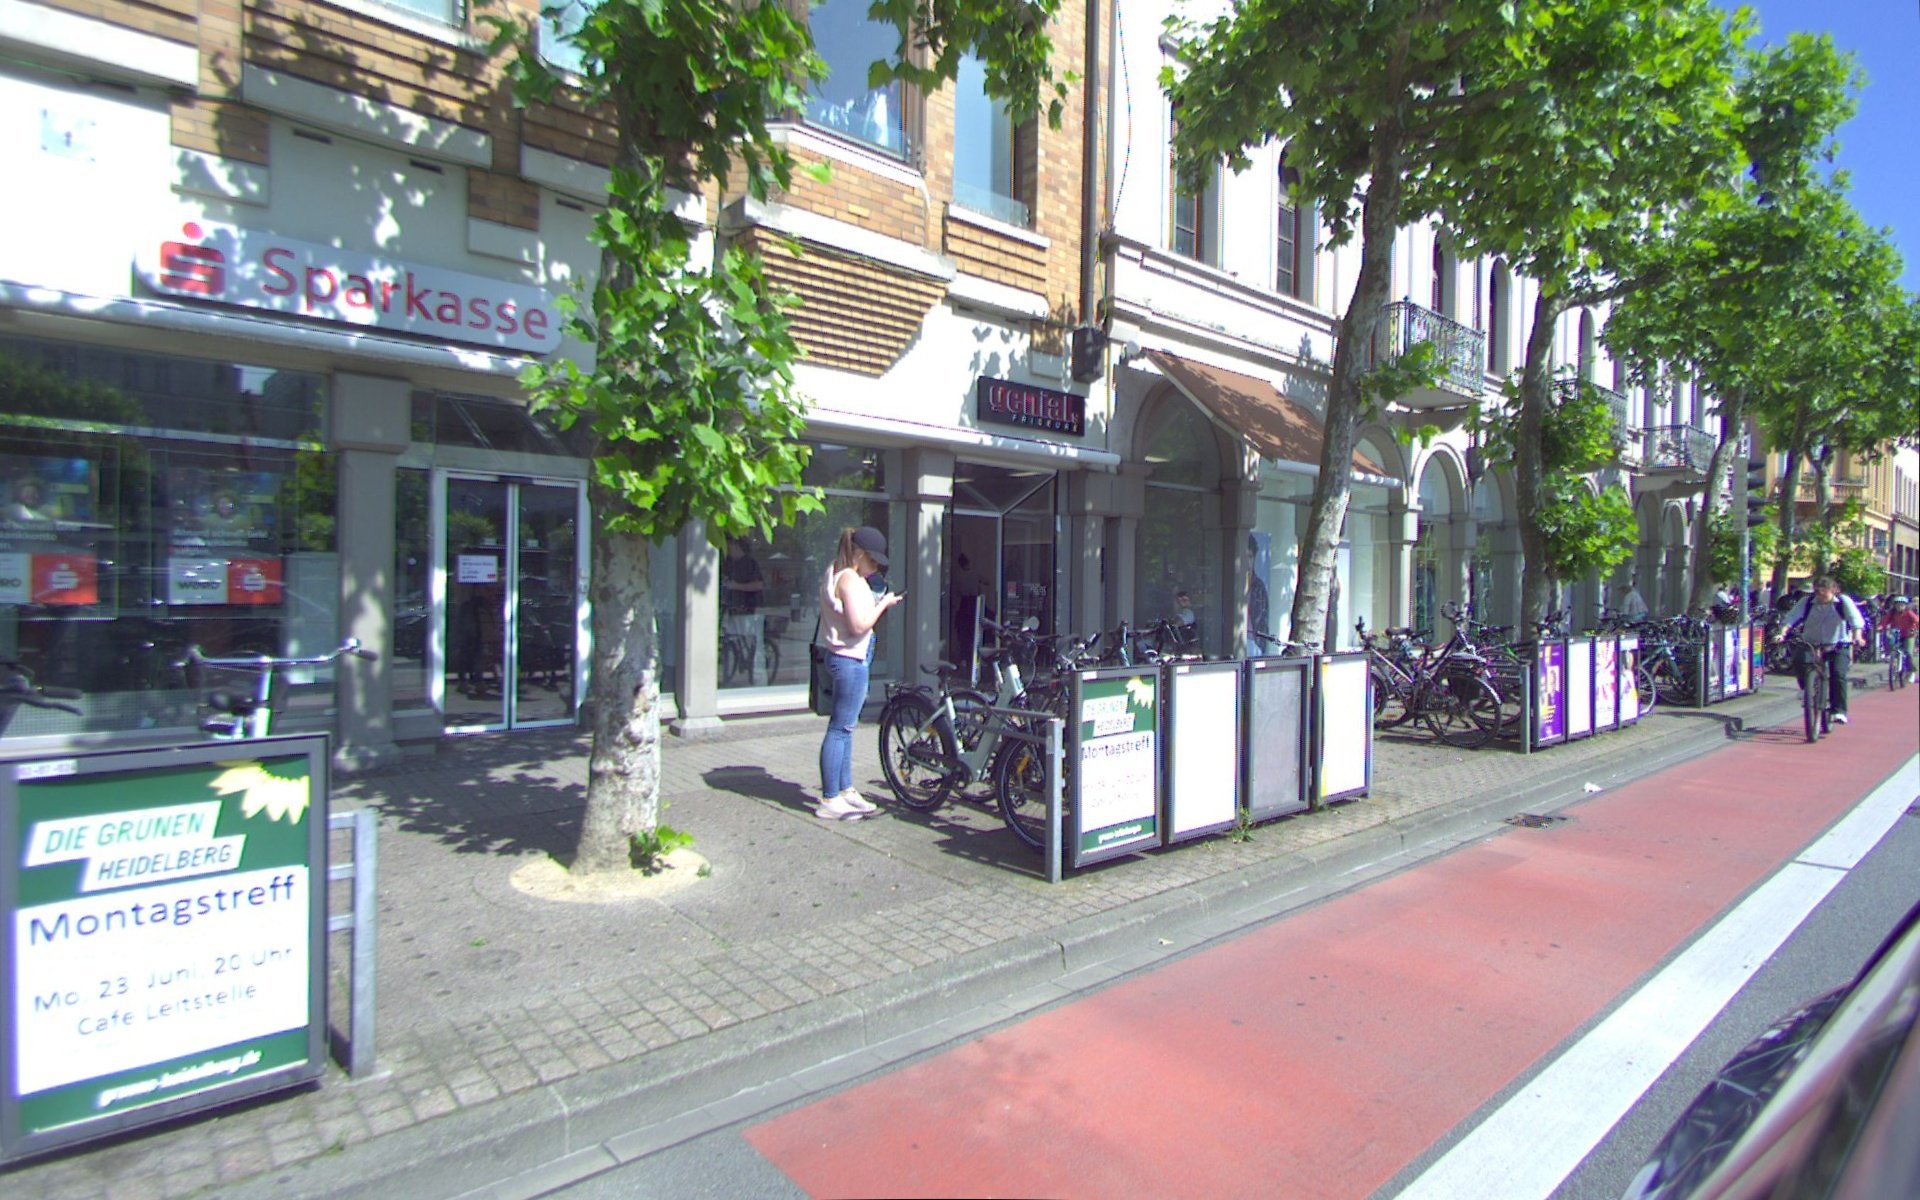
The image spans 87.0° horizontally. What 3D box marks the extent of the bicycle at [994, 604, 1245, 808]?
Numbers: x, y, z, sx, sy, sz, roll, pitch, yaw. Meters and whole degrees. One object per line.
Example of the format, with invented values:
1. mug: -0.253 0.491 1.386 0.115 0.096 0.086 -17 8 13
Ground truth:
1. bicycle: 1.010 0.632 6.794 0.474 1.161 1.755 0 1 -42

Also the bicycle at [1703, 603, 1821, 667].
1. bicycle: 15.637 0.660 19.771 0.474 1.161 1.755 0 1 -42

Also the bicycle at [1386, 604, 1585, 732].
1. bicycle: 5.350 0.648 10.390 0.474 1.161 1.755 0 1 -42

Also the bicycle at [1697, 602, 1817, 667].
1. bicycle: 15.263 0.630 19.423 0.474 1.161 1.755 0 1 -42

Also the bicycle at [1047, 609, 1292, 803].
1. bicycle: 1.419 0.672 7.157 0.474 1.161 1.755 0 1 -42

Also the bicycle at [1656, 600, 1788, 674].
1. bicycle: 13.428 0.621 17.875 0.474 1.209 1.802 0 1 -42

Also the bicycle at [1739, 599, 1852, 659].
1. bicycle: 17.450 0.577 21.170 0.582 1.161 1.755 0 1 -42

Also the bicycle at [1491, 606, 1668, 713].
1. bicycle: 7.427 0.677 12.206 0.474 1.161 1.755 0 1 -42

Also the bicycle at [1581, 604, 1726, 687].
1. bicycle: 10.495 0.659 15.375 0.474 1.161 1.755 0 1 -42

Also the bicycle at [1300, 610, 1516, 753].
1. bicycle: 4.033 0.684 9.229 0.474 1.137 1.755 0 1 -42

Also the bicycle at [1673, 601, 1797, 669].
1. bicycle: 14.283 0.620 18.686 0.474 1.161 1.755 0 1 -42

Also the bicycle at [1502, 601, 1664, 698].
1. bicycle: 8.203 0.615 13.385 0.474 1.161 1.755 0 1 -42

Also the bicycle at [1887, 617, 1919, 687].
1. bicycle: 15.943 0.837 16.749 1.788 1.107 0.735 1 -1 -42

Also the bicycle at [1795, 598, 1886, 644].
1. bicycle: 23.369 0.542 26.885 0.582 1.161 1.755 0 1 -42

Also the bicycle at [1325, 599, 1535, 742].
1. bicycle: 4.408 0.613 9.603 0.474 1.202 1.755 0 1 -42

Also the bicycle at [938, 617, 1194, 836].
1. bicycle: 0.615 0.719 6.450 0.474 1.161 1.755 0 1 -42

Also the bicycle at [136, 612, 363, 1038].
1. bicycle: -2.658 0.653 3.706 0.474 1.161 1.755 0 1 -42

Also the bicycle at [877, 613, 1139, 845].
1. bicycle: 0.226 0.685 6.106 0.474 1.161 1.755 0 1 -42

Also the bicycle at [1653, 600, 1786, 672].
1. bicycle: 13.087 0.593 17.475 0.474 1.161 1.776 0 1 -42

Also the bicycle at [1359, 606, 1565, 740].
1. bicycle: 4.877 0.663 9.933 0.474 1.161 1.755 0 1 -42

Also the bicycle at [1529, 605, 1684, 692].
1. bicycle: 8.958 0.637 14.089 0.474 1.101 1.755 0 1 -42

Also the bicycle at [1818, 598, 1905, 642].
1. bicycle: 25.339 0.536 28.469 0.582 1.161 1.755 0 1 -42

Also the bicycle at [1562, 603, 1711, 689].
1. bicycle: 9.901 0.643 14.861 0.474 1.161 1.755 0 1 -42

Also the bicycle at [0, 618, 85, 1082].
1. bicycle: -3.156 0.670 3.261 0.474 1.161 1.755 0 1 -42

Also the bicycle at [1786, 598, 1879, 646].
1. bicycle: 22.307 0.549 25.894 0.582 1.161 1.755 0 1 -42

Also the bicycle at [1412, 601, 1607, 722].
1. bicycle: 5.815 0.605 10.791 0.518 1.161 1.755 0 1 -42

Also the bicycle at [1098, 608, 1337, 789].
1. bicycle: 1.871 0.668 7.584 0.491 1.161 1.755 0 1 -42

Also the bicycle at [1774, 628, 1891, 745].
1. bicycle: 9.469 0.882 10.960 1.865 1.107 0.735 0 -1 -42

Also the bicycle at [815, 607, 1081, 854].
1. bicycle: -0.134 0.646 5.764 0.474 1.161 1.755 0 1 -42

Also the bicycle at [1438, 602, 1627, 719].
1. bicycle: 6.288 0.625 11.203 0.474 1.161 1.755 0 1 -42

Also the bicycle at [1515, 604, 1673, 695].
1. bicycle: 8.574 0.639 13.751 0.474 1.119 1.755 0 1 -42

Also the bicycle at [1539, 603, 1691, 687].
1. bicycle: 9.309 0.609 14.436 0.474 1.082 1.755 0 1 -42

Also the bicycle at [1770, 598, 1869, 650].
1. bicycle: 20.732 0.558 24.439 0.582 1.161 1.755 0 1 -42

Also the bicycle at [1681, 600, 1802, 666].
1. bicycle: 14.722 0.593 19.103 0.474 1.161 1.755 0 1 -42

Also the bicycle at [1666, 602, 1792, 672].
1. bicycle: 13.855 0.639 18.278 0.474 1.161 1.755 0 1 -42
